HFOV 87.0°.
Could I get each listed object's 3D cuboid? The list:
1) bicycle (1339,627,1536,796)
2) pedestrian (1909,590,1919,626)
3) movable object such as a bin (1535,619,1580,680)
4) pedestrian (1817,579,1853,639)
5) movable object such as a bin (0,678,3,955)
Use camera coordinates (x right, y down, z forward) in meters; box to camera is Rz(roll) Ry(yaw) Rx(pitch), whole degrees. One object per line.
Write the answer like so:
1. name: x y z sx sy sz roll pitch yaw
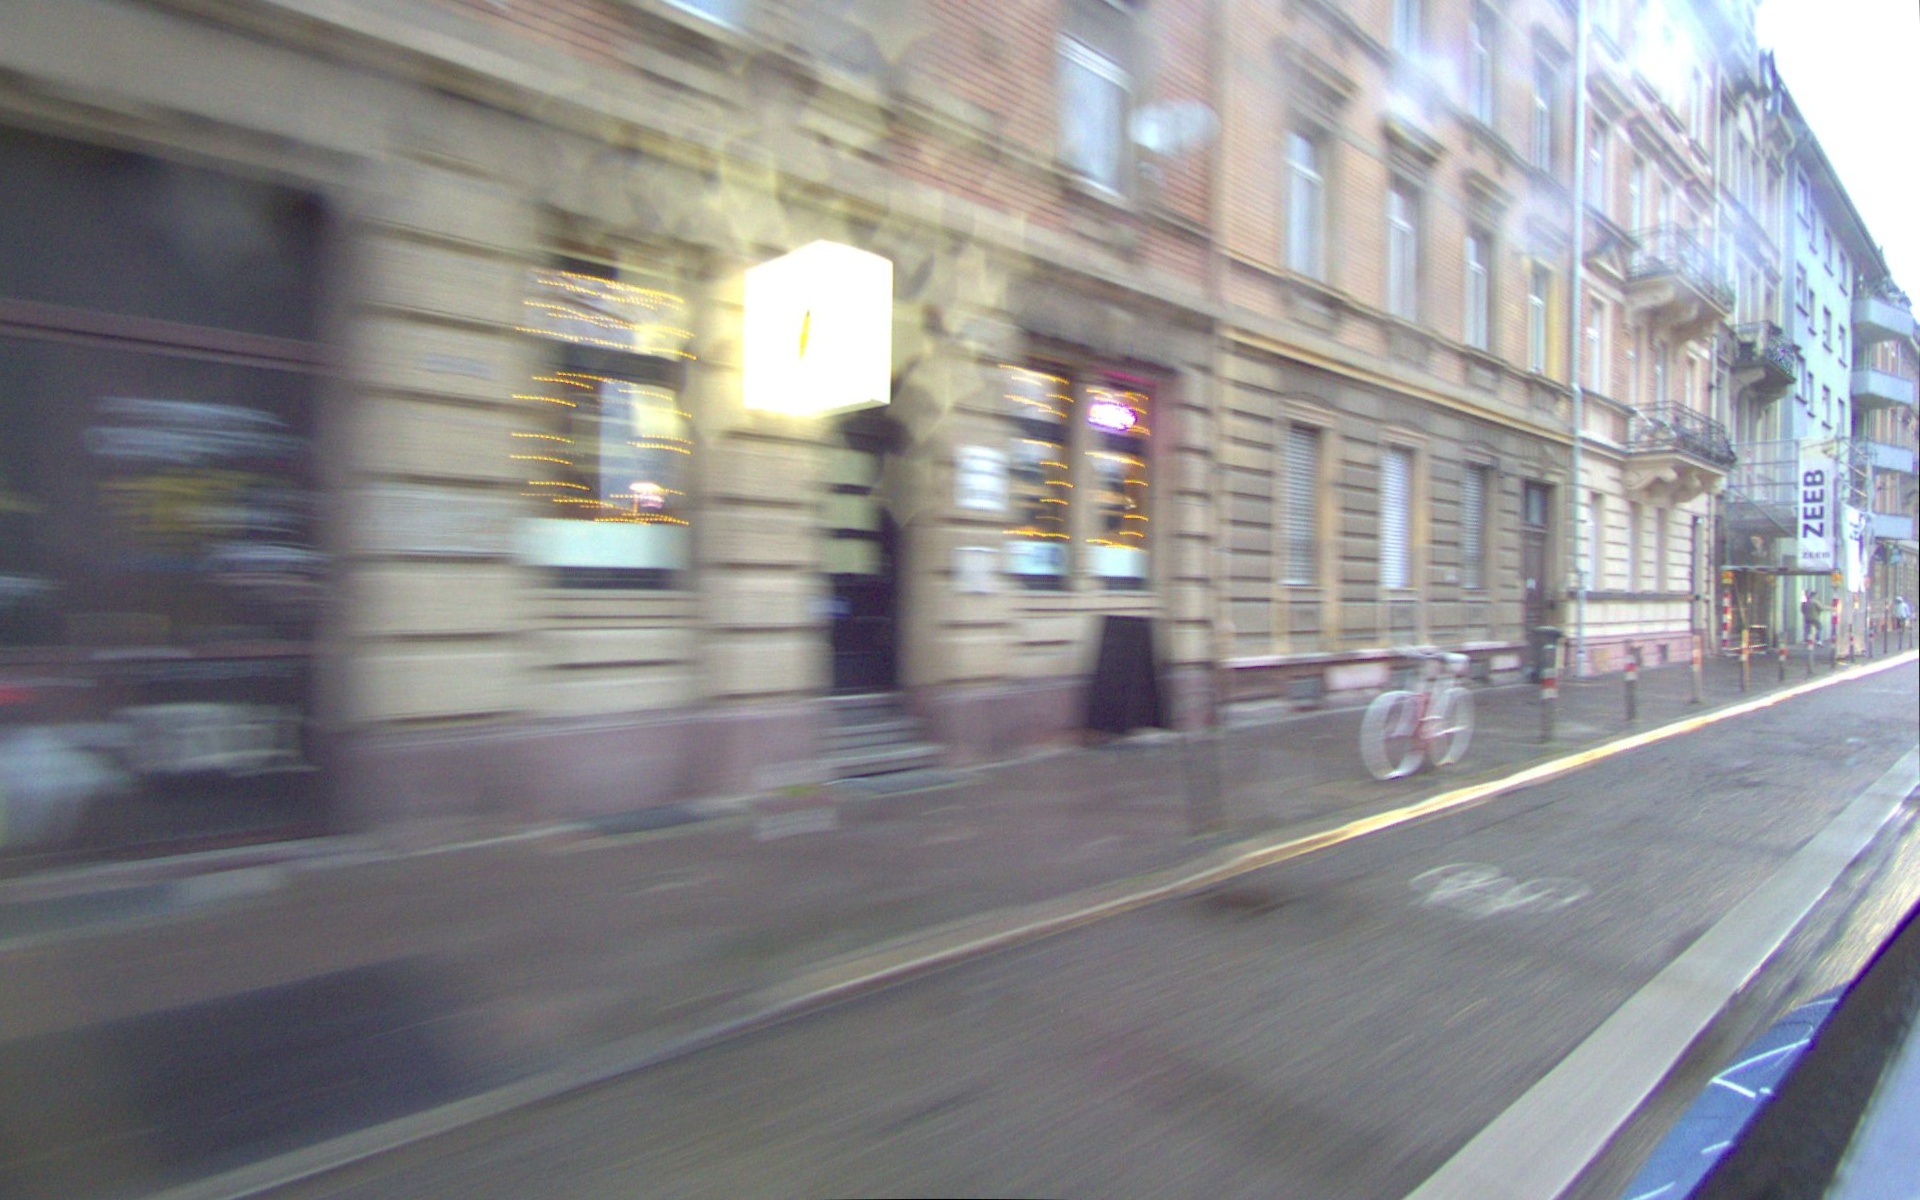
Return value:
1. bicycle: 4.042 0.851 8.472 2.150 1.171 0.685 -1 0 -41
2. pedestrian: 43.174 0.344 45.432 0.729 1.617 0.787 0 0 -43
3. movable object such as a bin: 9.672 0.789 16.386 0.499 0.943 0.507 0 0 -42
4. pedestrian: 27.382 0.285 31.662 0.593 1.841 0.770 -1 0 21
5. movable object such as a bin: -4.149 0.853 3.880 0.606 1.094 0.488 0 0 21
